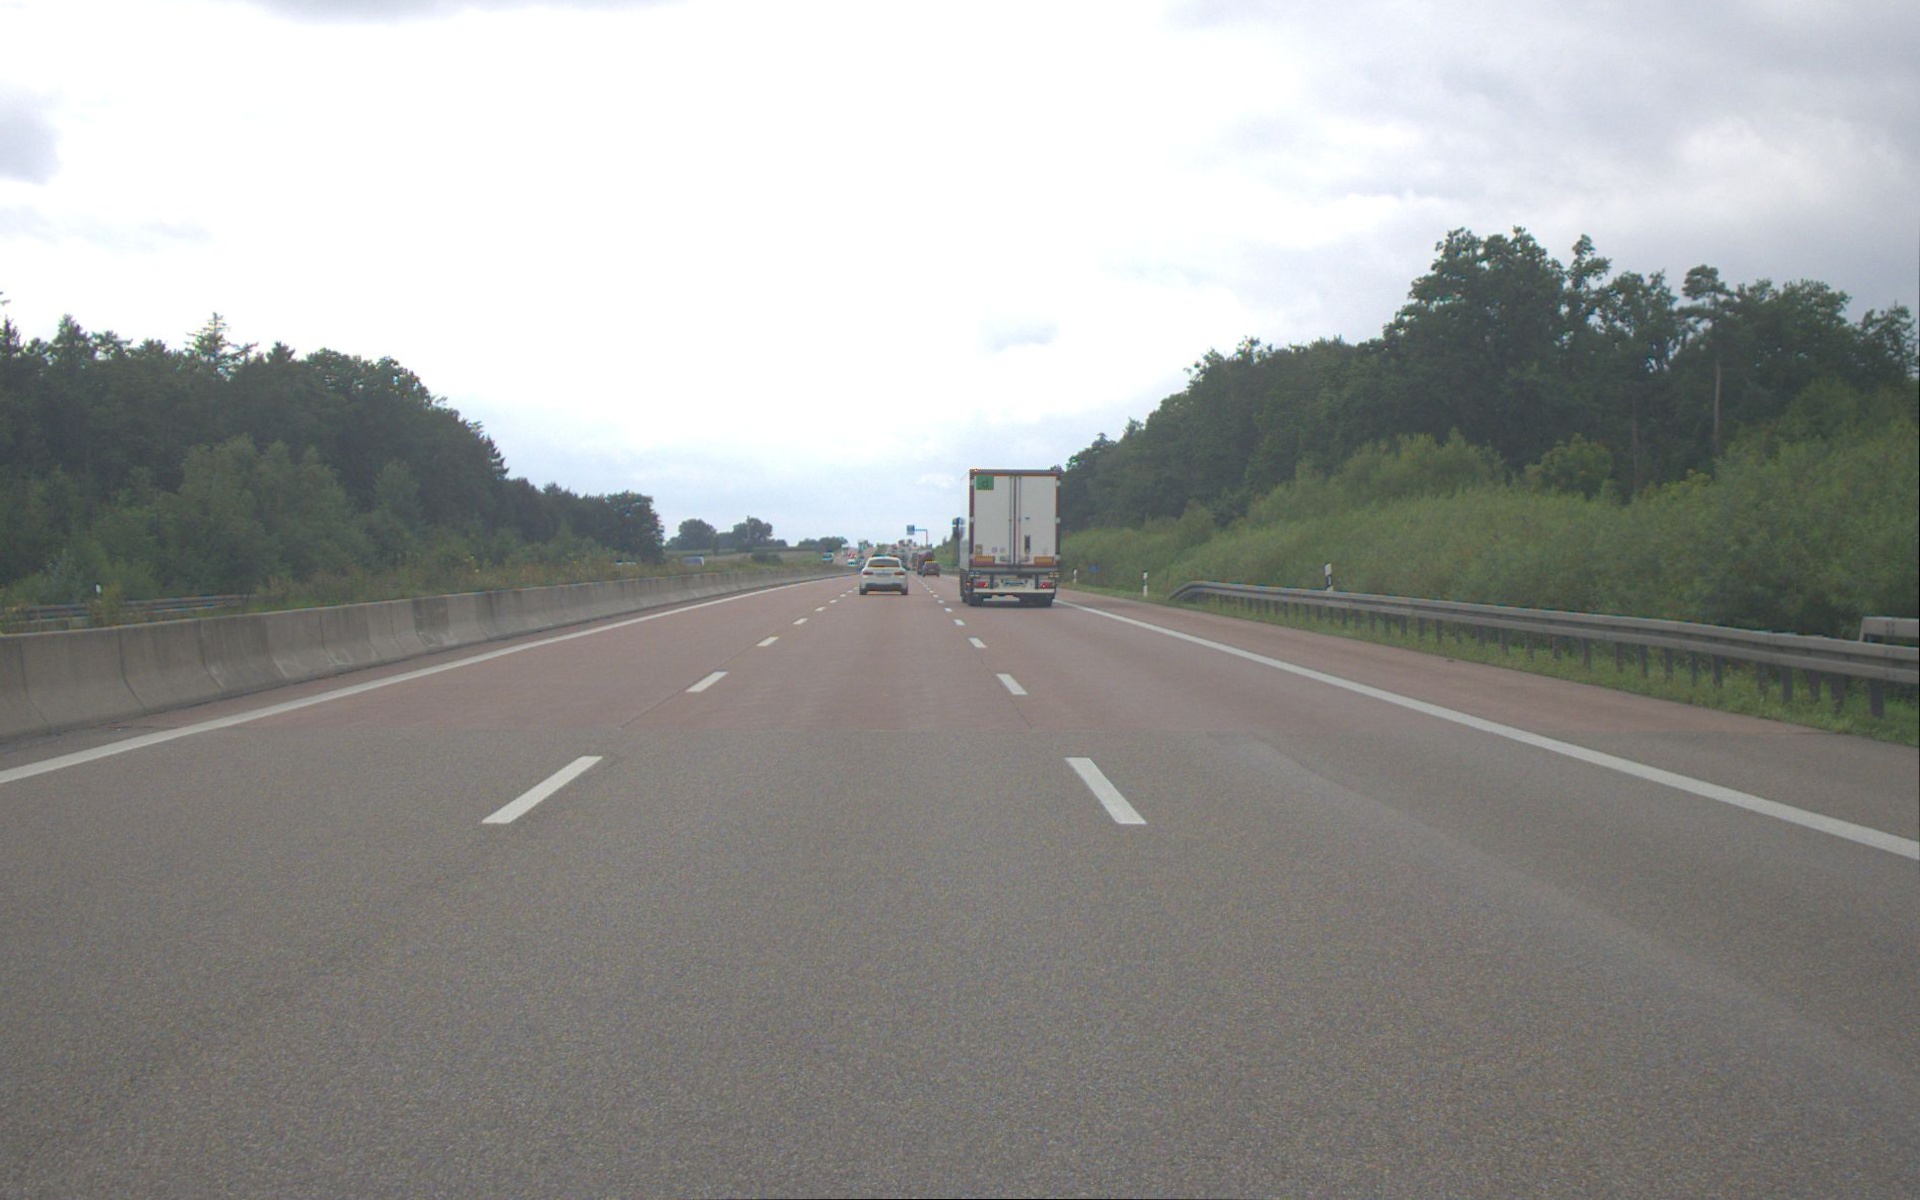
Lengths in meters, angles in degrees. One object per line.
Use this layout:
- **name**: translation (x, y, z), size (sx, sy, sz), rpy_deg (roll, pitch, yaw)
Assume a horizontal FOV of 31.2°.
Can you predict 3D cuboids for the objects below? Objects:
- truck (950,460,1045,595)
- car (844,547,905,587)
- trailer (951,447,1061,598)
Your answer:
- **truck**: translation (1.185, -2.328, 112.128), size (2.921, 4.279, 5.335), rpy_deg (0, 0, -1)
- **car**: translation (-3.297, -1.295, 133.097), size (2.163, 1.446, 4.719), rpy_deg (1, 1, 1)
- **trailer**: translation (1.296, -2.245, 104.359), size (2.921, 4.279, 13.614), rpy_deg (0, 0, -1)
